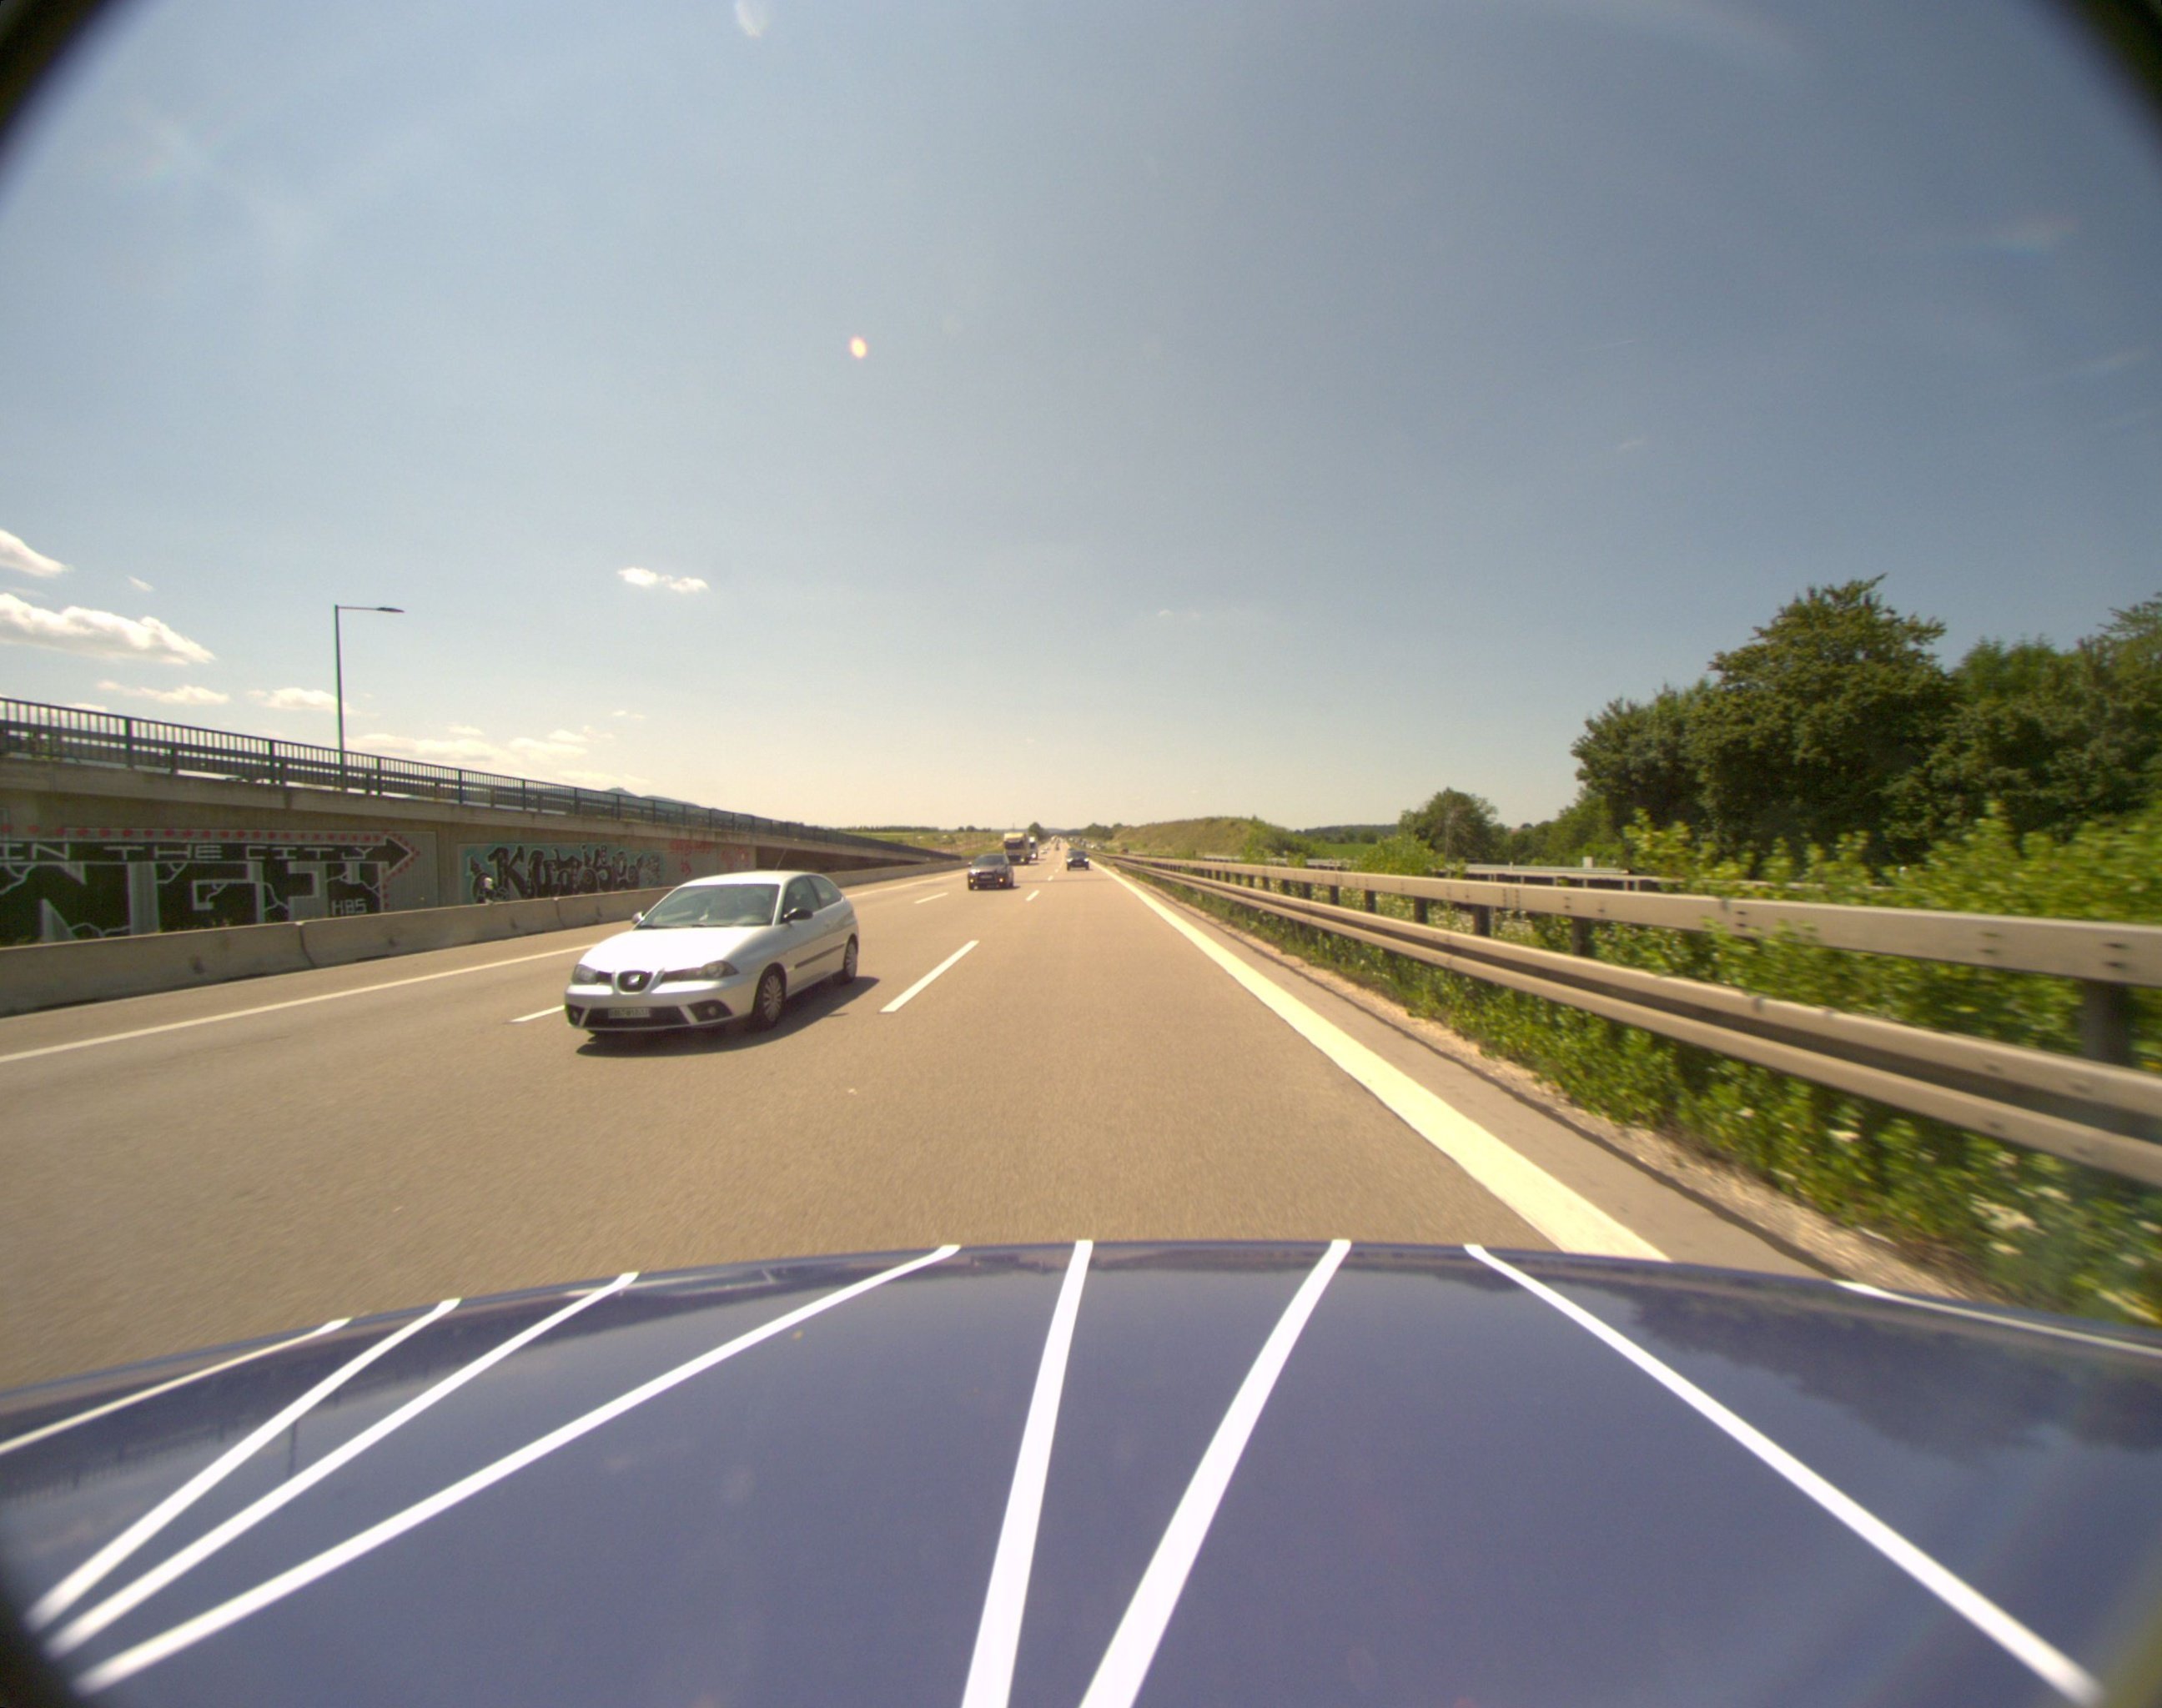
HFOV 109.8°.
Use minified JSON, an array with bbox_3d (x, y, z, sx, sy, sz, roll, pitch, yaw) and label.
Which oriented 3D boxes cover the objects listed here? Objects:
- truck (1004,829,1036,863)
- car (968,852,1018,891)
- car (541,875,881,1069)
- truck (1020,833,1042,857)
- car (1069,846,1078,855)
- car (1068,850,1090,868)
[{"bbox_3d":[-7.760,-1.061,97.879,3.368,4.037,11.734,-2,1,-2],"label":"truck"},{"bbox_3d":[-3.977,0.759,35.023,1.751,1.559,3.999,-2,1,1],"label":"car"},{"bbox_3d":[-3.561,1.030,8.238,1.634,1.381,3.999,-2,1,1],"label":"car"},{"bbox_3d":[-8.806,-1.513,135.679,3.368,3.976,11.734,-2,1,-2],"label":"truck"},{"bbox_3d":[-1.757,-0.860,182.836,1.998,2.002,4.000,-2,1,2],"label":"car"},{"bbox_3d":[-0.135,0.386,63.834,1.751,1.439,4.000,-1,0,1],"label":"car"}]
